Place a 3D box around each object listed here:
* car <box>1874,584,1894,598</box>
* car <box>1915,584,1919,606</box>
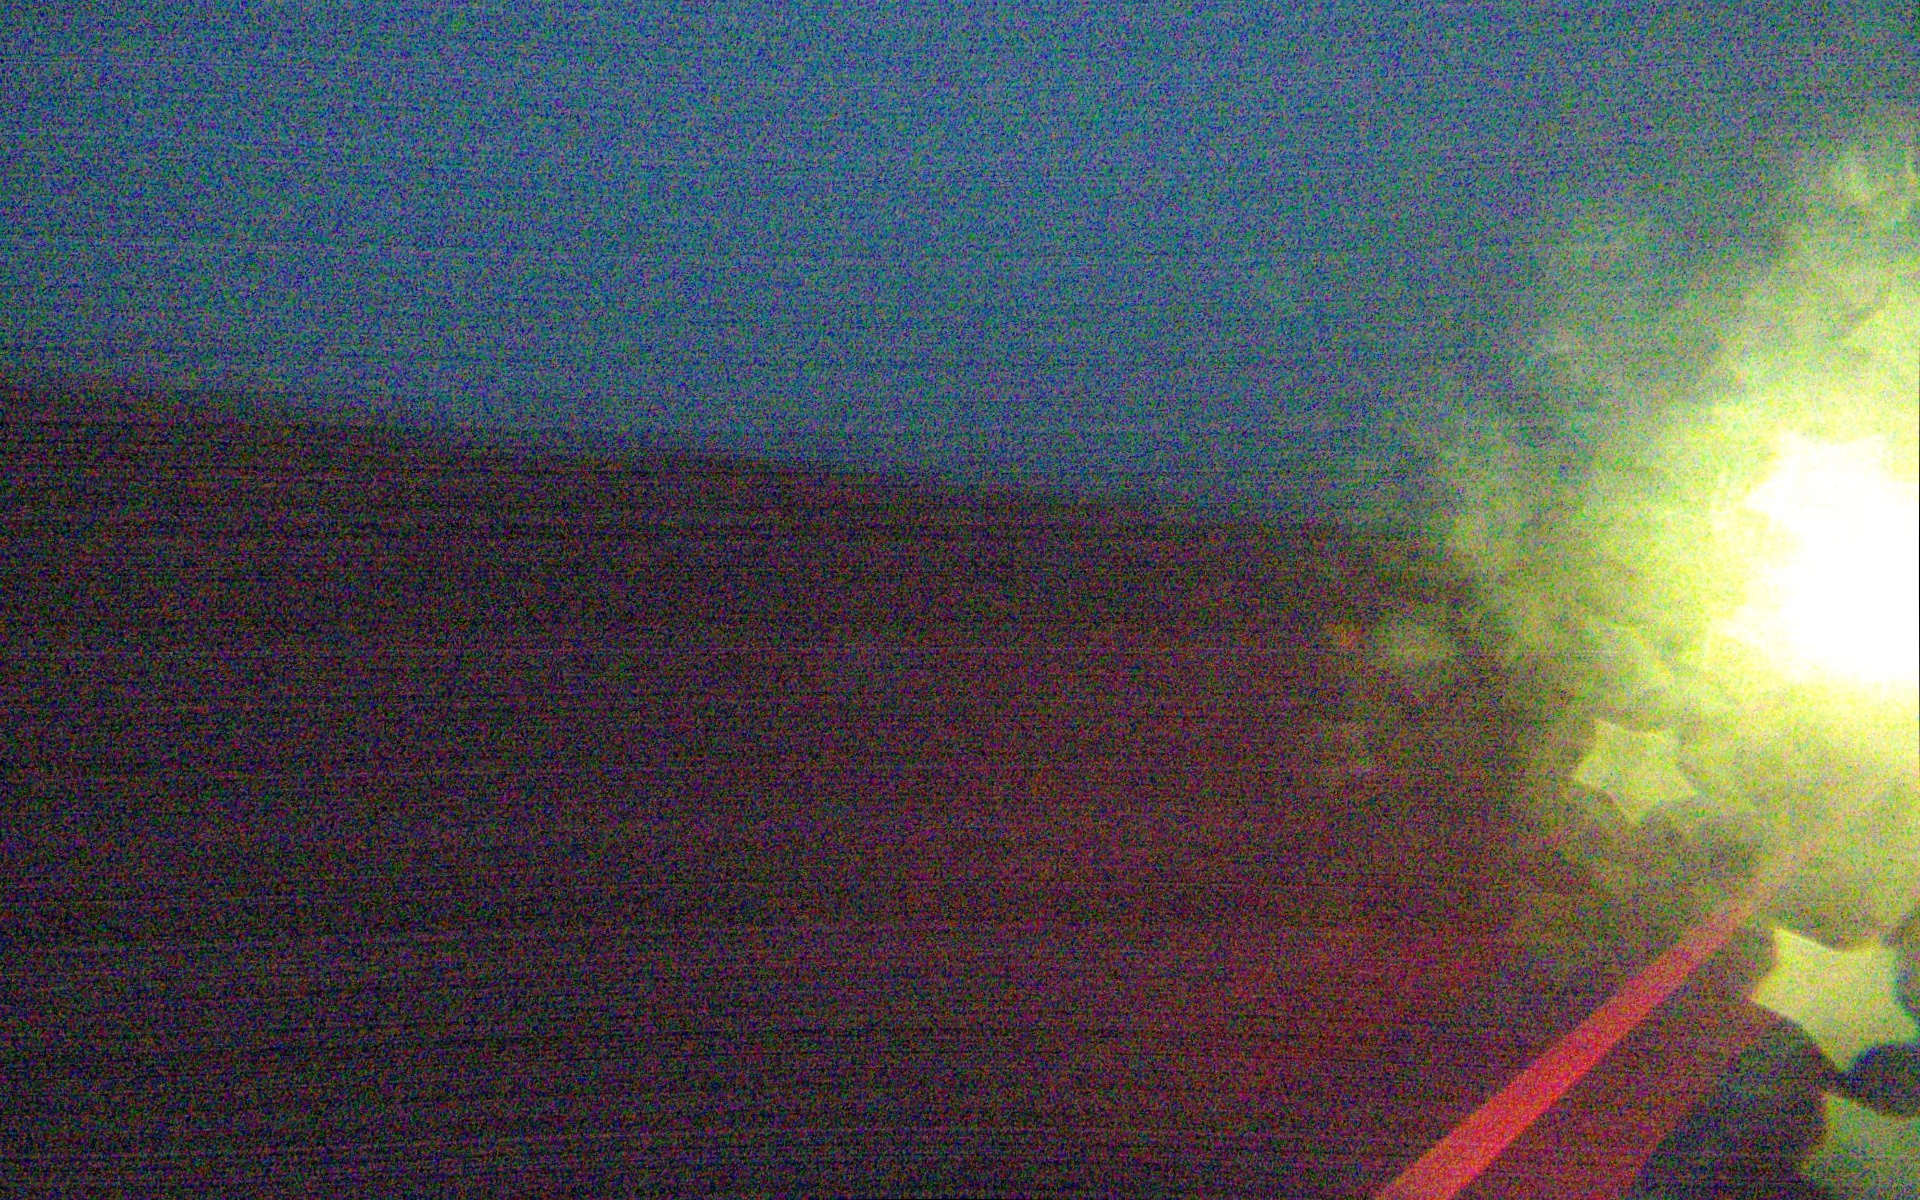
[{"bbox_3d":[145.242,-1.457,159.083,1.991,2.038,4.214,2,2,40],"label":"car"},{"bbox_3d":[92.982,-0.445,96.770,1.991,2.038,3.945,2,3,39],"label":"car"}]
